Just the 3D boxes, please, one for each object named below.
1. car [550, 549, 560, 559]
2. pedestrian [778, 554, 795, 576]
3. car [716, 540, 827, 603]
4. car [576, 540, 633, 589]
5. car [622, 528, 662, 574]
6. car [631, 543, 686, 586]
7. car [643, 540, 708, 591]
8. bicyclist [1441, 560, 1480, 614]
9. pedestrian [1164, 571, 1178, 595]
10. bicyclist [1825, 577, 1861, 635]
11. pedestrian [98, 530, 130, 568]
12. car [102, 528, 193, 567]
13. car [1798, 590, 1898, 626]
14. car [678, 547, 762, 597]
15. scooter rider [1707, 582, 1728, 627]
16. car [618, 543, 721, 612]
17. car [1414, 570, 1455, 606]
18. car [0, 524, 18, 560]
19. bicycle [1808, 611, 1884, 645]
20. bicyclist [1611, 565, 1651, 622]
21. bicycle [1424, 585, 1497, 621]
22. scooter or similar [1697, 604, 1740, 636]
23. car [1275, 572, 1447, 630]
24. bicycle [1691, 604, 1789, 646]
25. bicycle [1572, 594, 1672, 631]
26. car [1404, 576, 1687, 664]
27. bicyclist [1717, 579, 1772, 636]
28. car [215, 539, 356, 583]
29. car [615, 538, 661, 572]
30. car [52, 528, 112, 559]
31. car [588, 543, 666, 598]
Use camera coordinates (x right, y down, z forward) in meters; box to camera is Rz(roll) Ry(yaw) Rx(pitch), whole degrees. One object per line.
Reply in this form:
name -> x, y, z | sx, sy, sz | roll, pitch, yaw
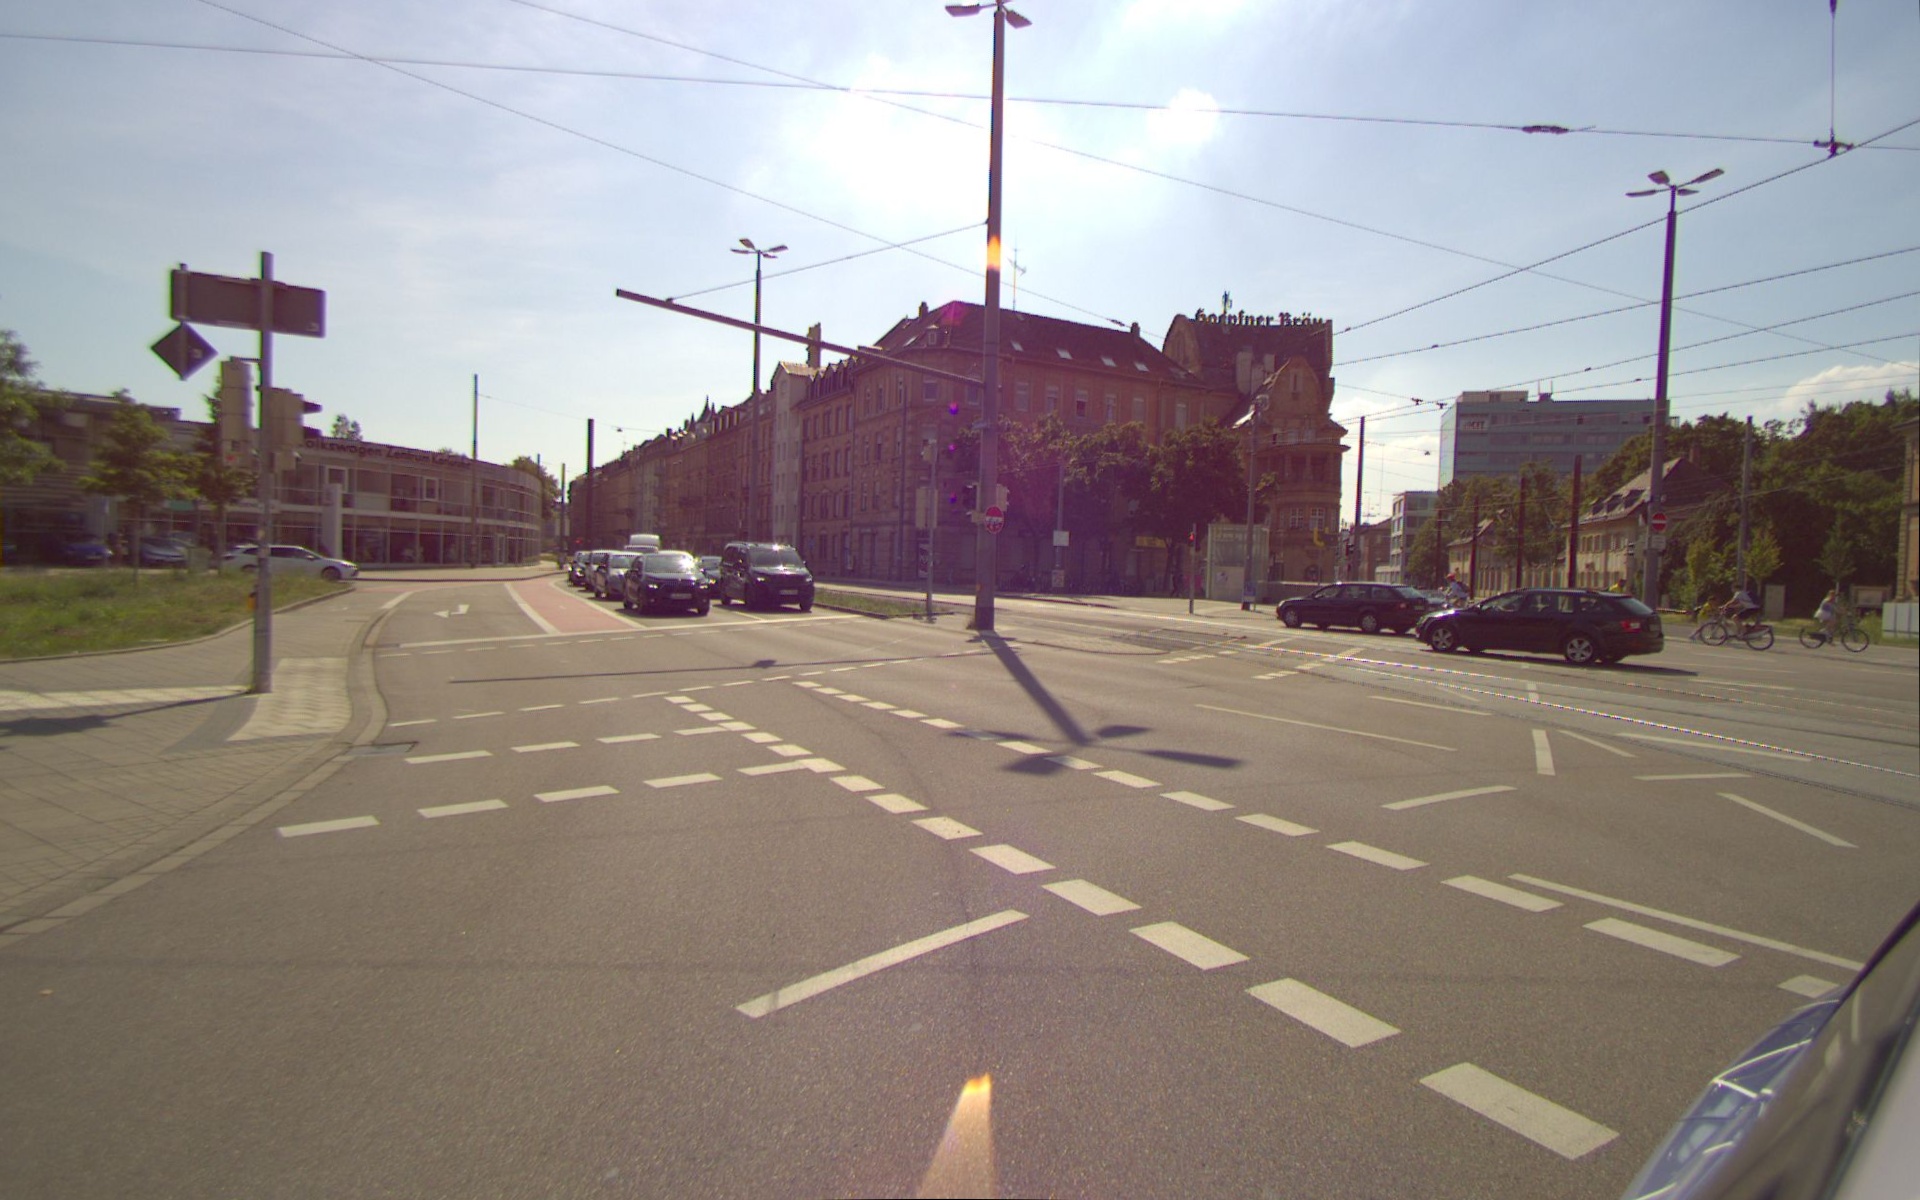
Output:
car -> -90.820, -10.258, 226.878 | 1.958, 2.038, 4.009 | 1, 2, -23
pedestrian -> -11.664, -2.353, 67.980 | 0.874, 1.450, 0.709 | 2, 2, 16
car -> -5.450, -0.811, 28.751 | 1.927, 1.607, 4.725 | 1, 1, -25
car -> -13.869, -1.357, 39.336 | 1.622, 1.760, 4.208 | 1, 1, -26
car -> -20.256, -3.052, 64.605 | 2.169, 2.608, 5.888 | 3, 0, -17
car -> -14.500, -1.676, 48.582 | 1.861, 1.940, 4.208 | 1, 1, -26
car -> -11.771, -1.401, 41.724 | 1.861, 1.940, 4.208 | 1, 1, -26
bicyclist -> 16.165, -0.425, 32.689 | 0.703, 1.689, 0.875 | -2, 3, -35
pedestrian -> 13.033, -1.055, 62.506 | 0.701, 1.451, 0.612 | 3, 0, 10
bicyclist -> 26.206, 0.174, 30.035 | 0.492, 1.641, 0.649 | 3, 0, -37
pedestrian -> -36.994, -2.215, 44.254 | 0.533, 1.600, 0.941 | 3, 0, 44
car -> -38.749, -2.484, 48.237 | 3.959, 1.638, 1.809 | 3, 0, 25
car -> 37.144, 0.308, 42.438 | 1.648, 1.329, 3.438 | 3, 2, 14
car -> -8.356, -0.961, 34.974 | 1.862, 1.607, 4.006 | 1, 1, -28
scooter rider -> 24.474, 0.146, 32.688 | 0.578, 1.415, 0.406 | 3, 0, -43
car -> -7.543, -0.599, 25.976 | 1.858, 1.607, 4.219 | 1, 2, -25
car -> 23.003, -0.607, 48.968 | 1.623, 1.603, 3.962 | 3, 2, 27
car -> -41.934, -2.554, 43.513 | 1.967, 1.504, 3.991 | 3, 0, -44
bicycle -> 26.212, 0.836, 29.971 | 0.492, 0.876, 1.587 | 3, 1, -37
bicyclist -> 22.512, -0.209, 33.961 | 1.045, 1.843, 0.918 | 3, 0, 33
bicycle -> 16.164, 0.088, 32.724 | 0.703, 1.027, 2.022 | -2, 4, -34
scooter or similar -> 24.465, 0.642, 32.653 | 0.578, 0.988, 0.990 | 3, 0, -43
car -> 11.435, -0.032, 29.151 | 1.673, 1.447, 4.400 | 0, 2, -34
bicycle -> 21.682, 0.679, 28.169 | 0.702, 1.028, 2.024 | 3, 0, -26
bicycle -> 22.268, 0.420, 34.104 | 2.724, 1.082, 0.919 | 3, 0, 31
car -> 11.910, 0.324, 20.916 | 1.606, 1.453, 4.777 | 1, 3, -39
bicyclist -> 21.759, 0.203, 28.072 | 0.701, 1.506, 0.952 | 3, 0, -26
car -> -26.701, -1.524, 40.252 | 4.506, 1.454, 1.446 | 3, 0, -29
car -> -17.774, -2.490, 55.681 | 2.146, 1.701, 5.042 | 1, 2, -20
car -> -39.369, -2.544, 45.370 | 1.805, 1.210, 3.991 | 3, 0, -44
car -> -10.698, -0.921, 32.315 | 1.861, 1.607, 4.007 | 1, 1, -25
